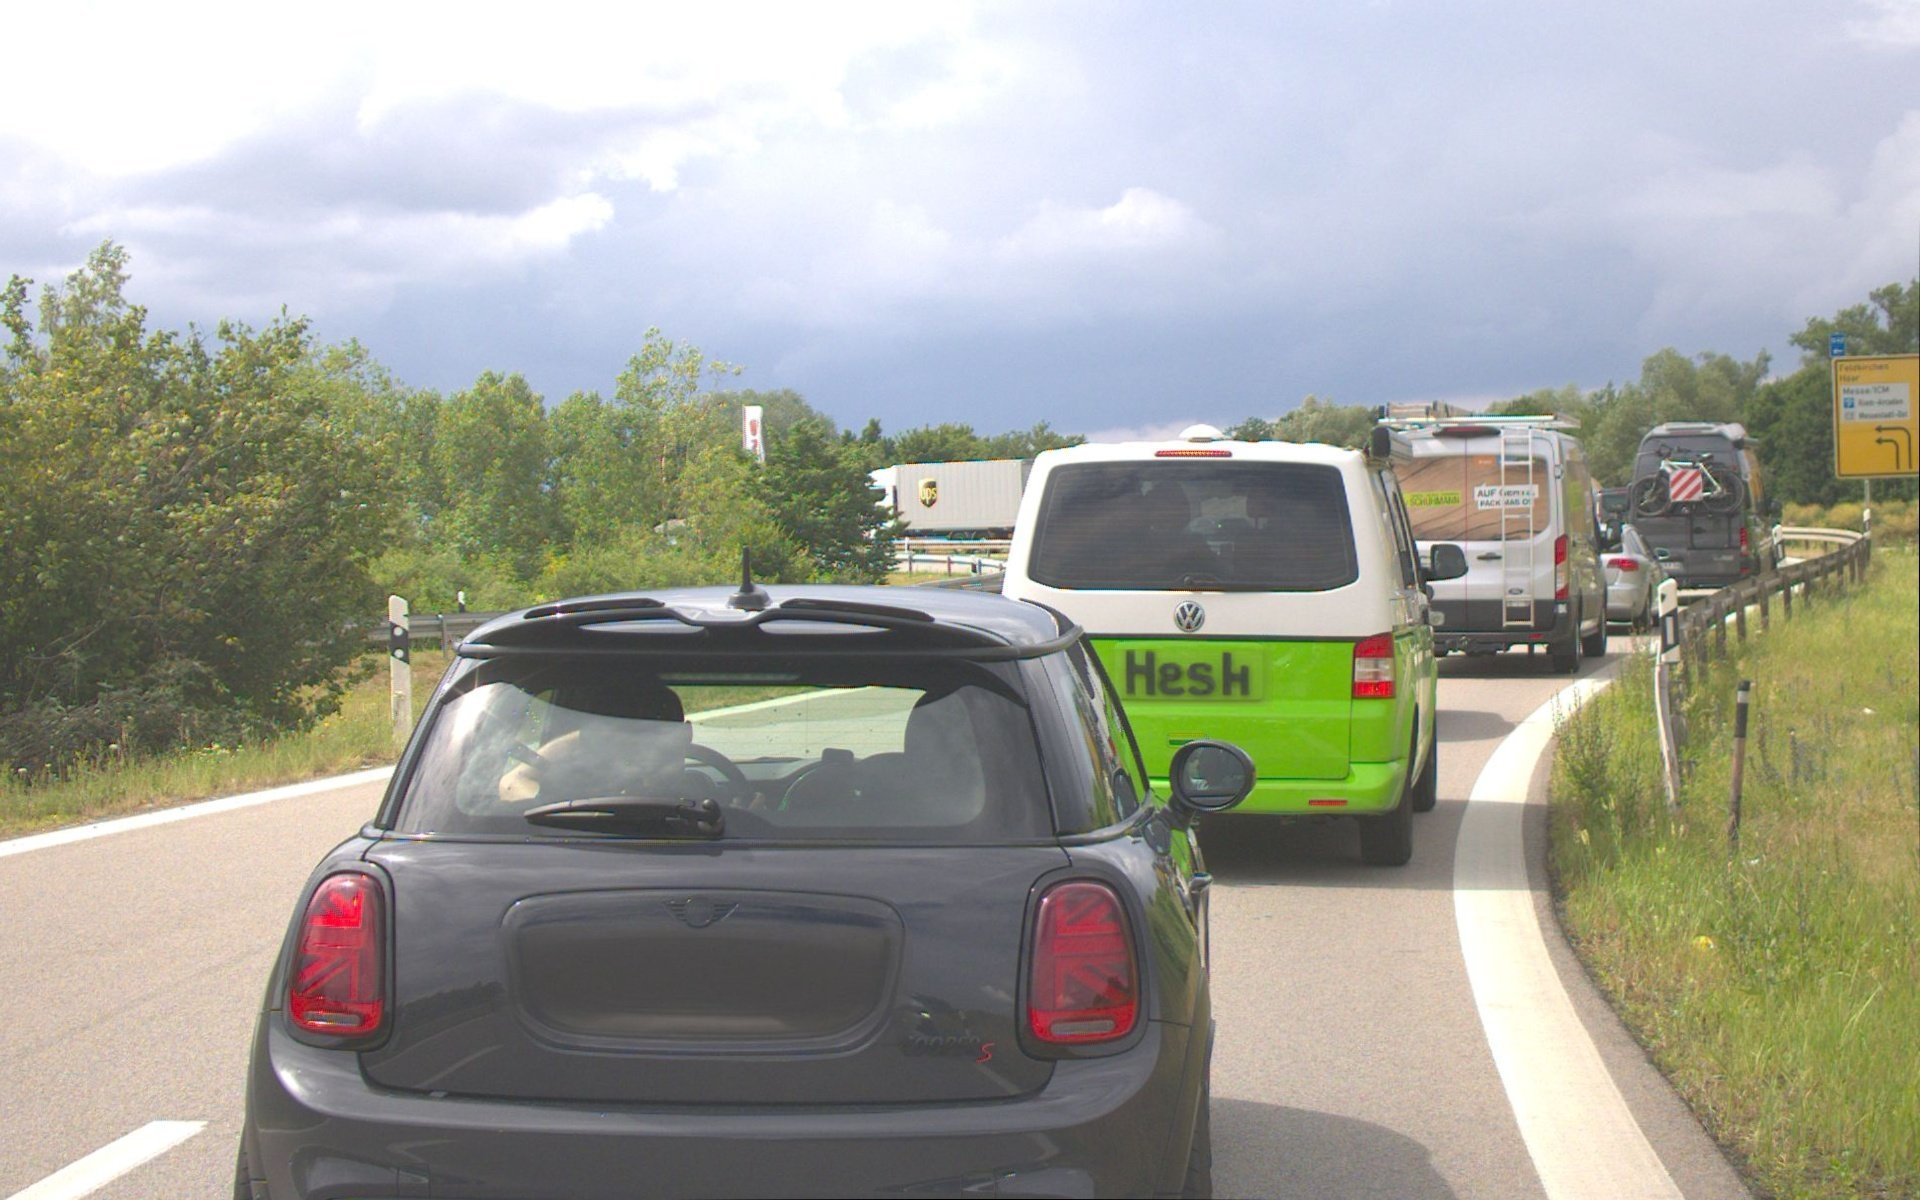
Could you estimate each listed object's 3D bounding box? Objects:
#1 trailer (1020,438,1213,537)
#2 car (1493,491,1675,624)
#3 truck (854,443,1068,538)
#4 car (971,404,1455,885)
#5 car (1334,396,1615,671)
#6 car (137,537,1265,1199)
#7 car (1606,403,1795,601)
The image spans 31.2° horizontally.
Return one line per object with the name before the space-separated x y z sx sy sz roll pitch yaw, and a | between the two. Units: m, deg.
trailer | 6.376 -4.569 141.418 3.036 3.884 8.771 0 1 -37
car | 8.212 -0.553 45.000 1.995 1.636 3.926 1 1 15
truck | -0.020 -4.683 148.331 10.023 3.962 2.838 1 1 44
car | 1.369 0.152 16.799 1.912 2.038 4.179 0 1 10
car | 5.437 -0.669 35.652 2.213 2.613 5.530 1 1 15
car | -0.307 0.645 7.323 1.800 1.541 3.738 0 1 4
car | 12.319 -1.557 56.849 2.313 3.058 6.656 1 1 18
